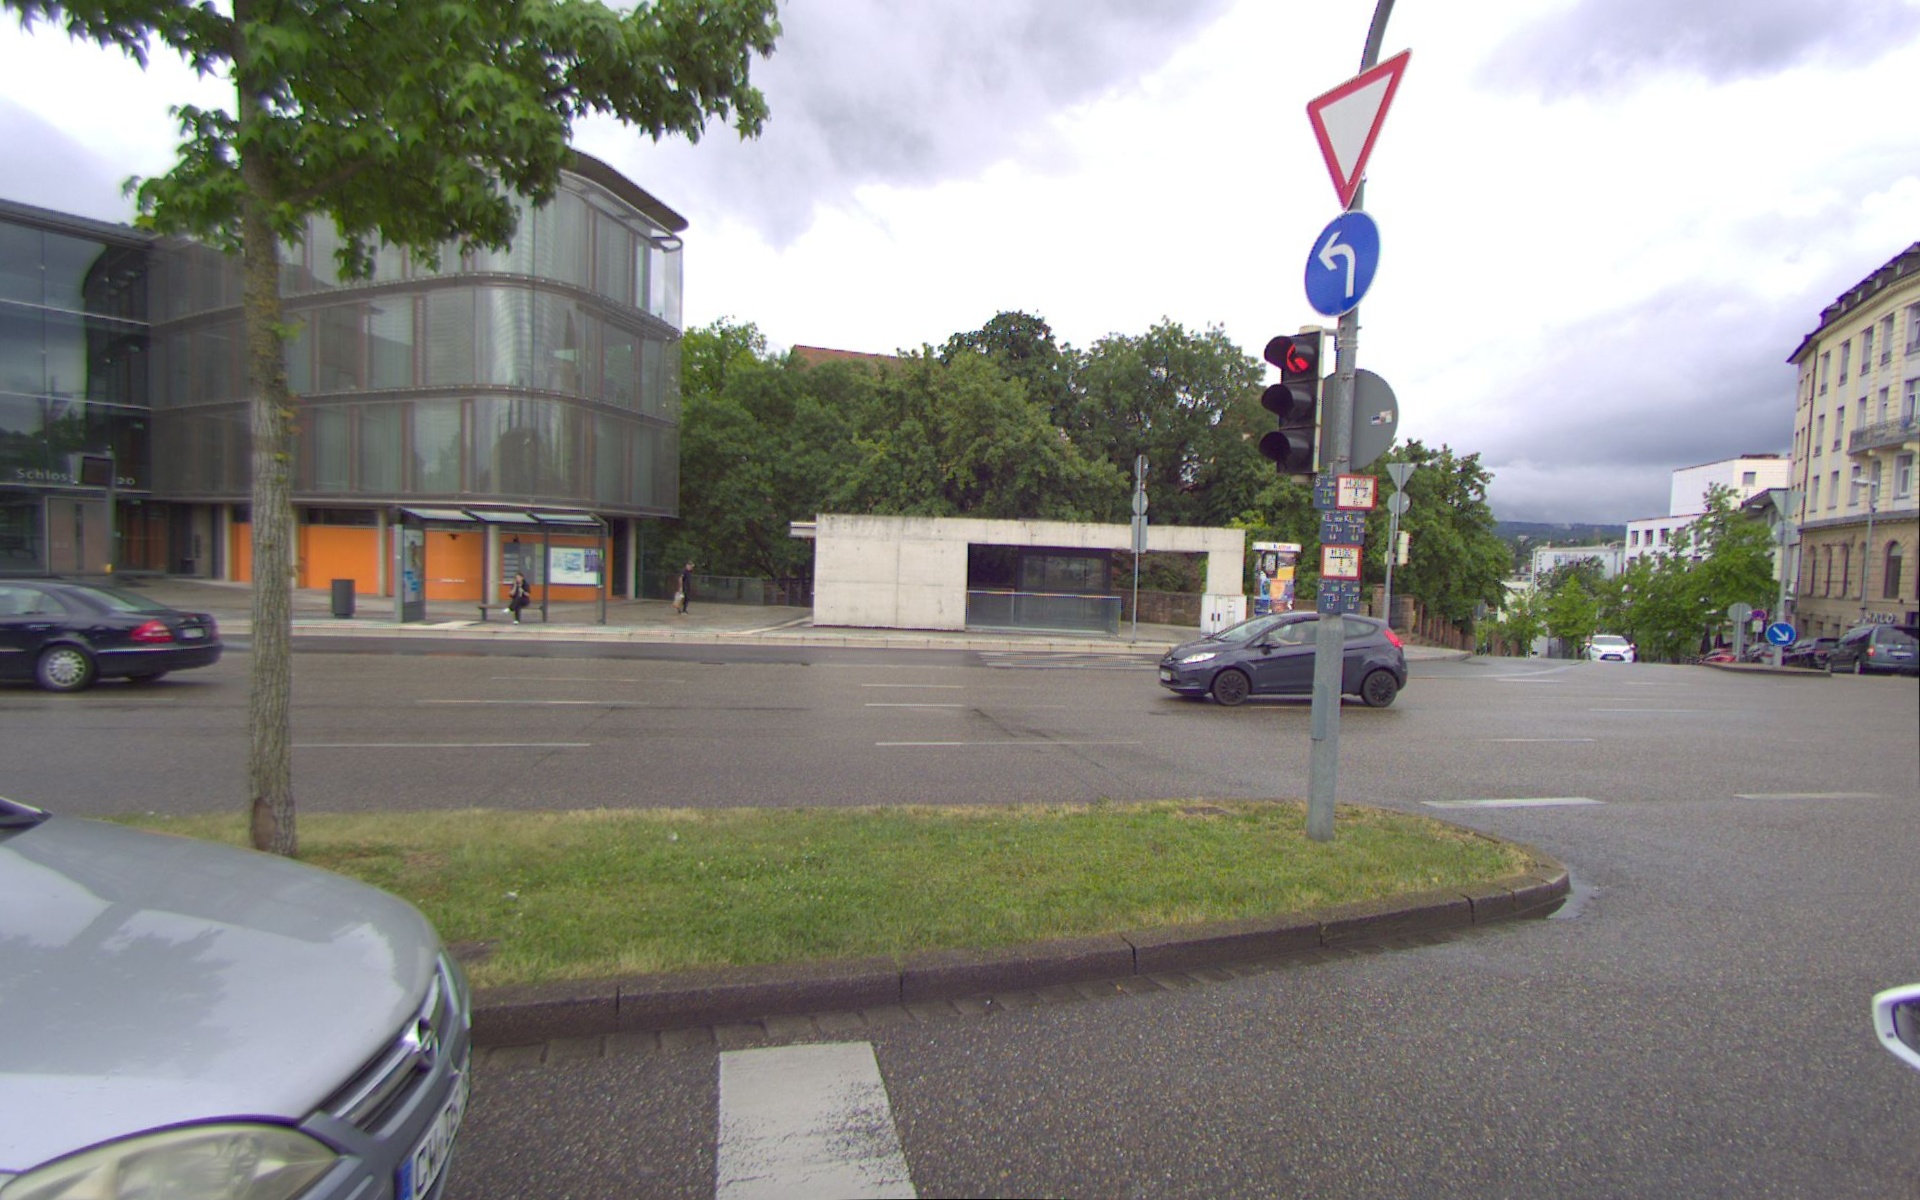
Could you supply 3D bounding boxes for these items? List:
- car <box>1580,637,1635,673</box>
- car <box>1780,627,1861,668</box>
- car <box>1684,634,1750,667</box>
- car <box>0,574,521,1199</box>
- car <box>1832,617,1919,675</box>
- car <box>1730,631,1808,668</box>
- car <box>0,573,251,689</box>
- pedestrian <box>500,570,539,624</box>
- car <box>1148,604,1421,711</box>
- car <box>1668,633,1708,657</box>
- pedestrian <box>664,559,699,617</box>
[{"bbox_3d":[29.650,2.486,46.110,1.604,1.417,3.996,2,0,26],"label":"car"},{"bbox_3d":[34.827,1.897,40.770,1.605,1.417,3.994,2,1,28],"label":"car"},{"bbox_3d":[38.739,2.541,51.501,1.736,1.498,4.008,2,0,23],"label":"car"},{"bbox_3d":[-2.779,0.664,1.421,3.657,1.485,1.695,2,0,-14],"label":"car"},{"bbox_3d":[31.924,1.550,34.861,1.605,1.783,3.994,2,1,28],"label":"car"},{"bbox_3d":[36.673,2.213,45.644,1.736,1.498,3.998,2,0,23],"label":"car"},{"bbox_3d":[-12.359,0.380,13.651,3.929,1.441,1.958,2,0,-11],"label":"car"},{"bbox_3d":[-10.973,-0.071,25.033,0.706,1.316,0.668,2,0,-7],"label":"pedestrian"},{"bbox_3d":[5.120,0.894,16.079,3.793,1.532,1.680,2,0,-9],"label":"car"},{"bbox_3d":[49.820,3.037,68.823,1.738,1.498,3.993,2,0,29],"label":"car"},{"bbox_3d":[-8.896,-0.391,32.123,0.809,1.780,0.786,2,4,9],"label":"pedestrian"}]
